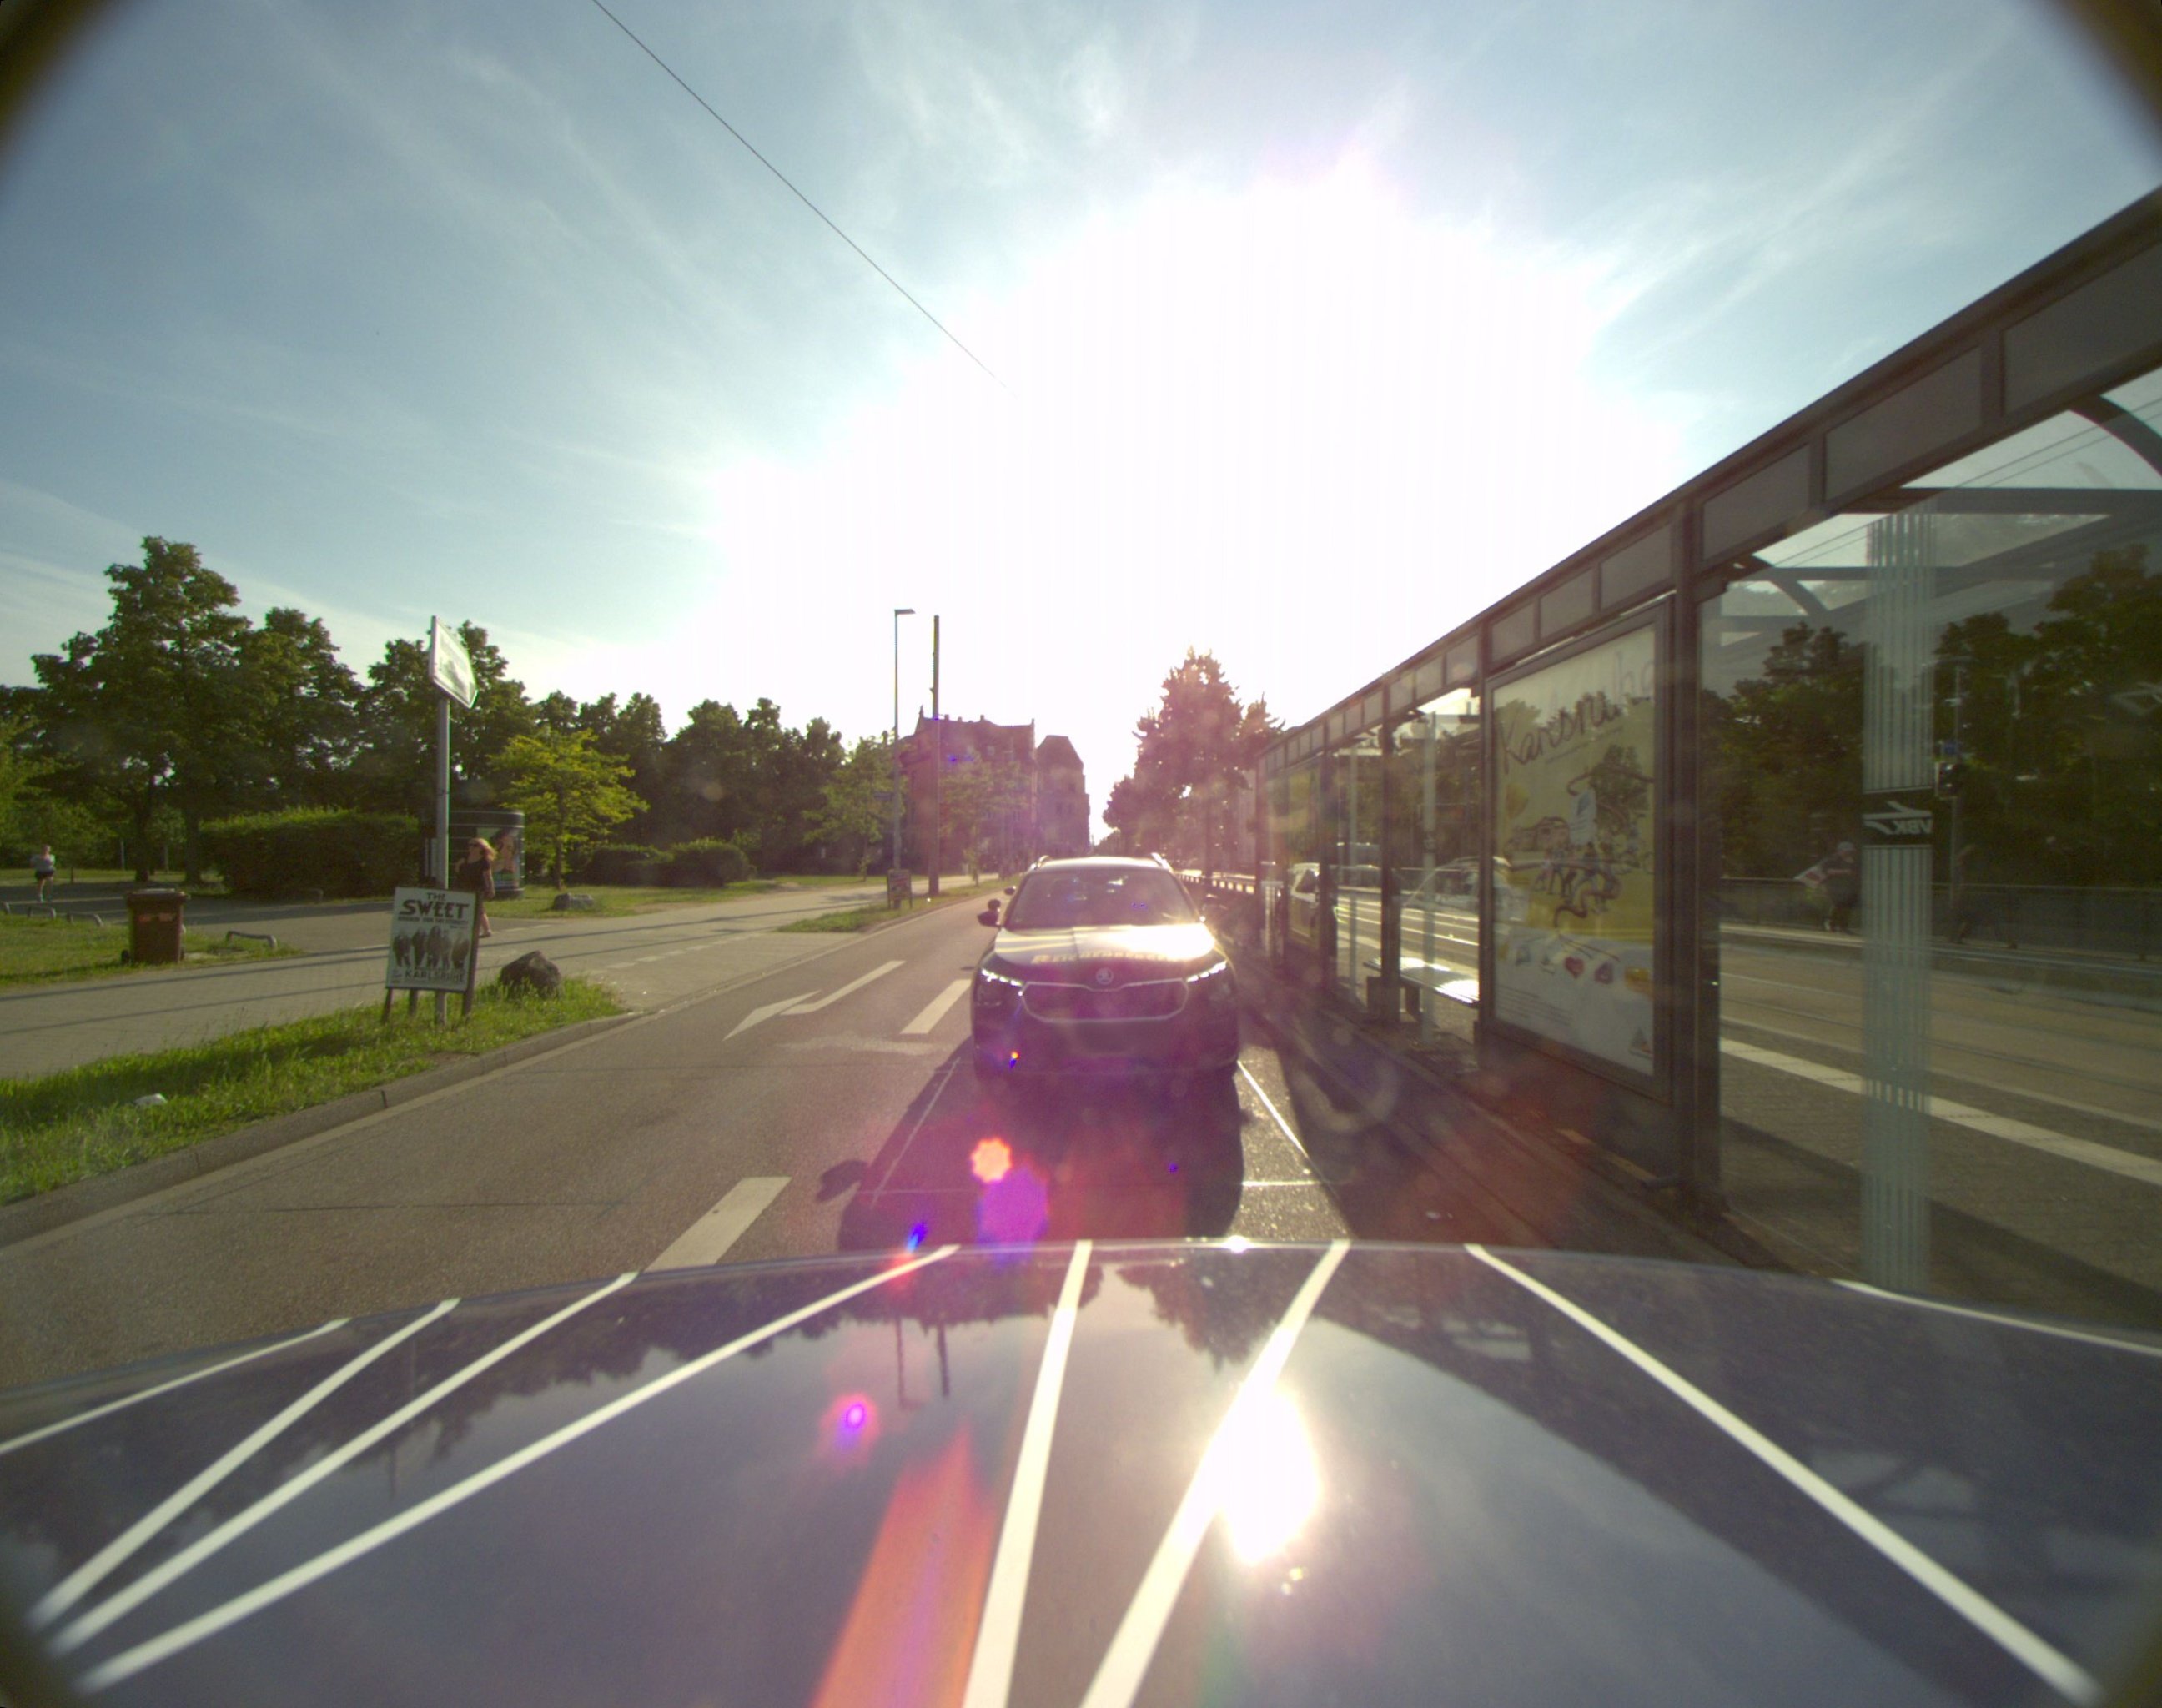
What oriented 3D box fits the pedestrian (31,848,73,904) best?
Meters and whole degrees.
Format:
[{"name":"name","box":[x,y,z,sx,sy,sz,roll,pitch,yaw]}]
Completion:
[{"name":"pedestrian","box":[-30.652,0.647,22.636,0.660,1.641,0.623,0,1,26]}]

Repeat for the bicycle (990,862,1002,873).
[{"name":"bicycle","box":[-7.615,1.214,68.454,0.740,0.912,2.095,0,0,3]}]

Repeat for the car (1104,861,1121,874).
[{"name":"car","box":[4.174,1.742,101.149,1.999,1.674,3.999,0,0,-1]}]

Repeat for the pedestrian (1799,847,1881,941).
[{"name":"pedestrian","box":[13.366,0.687,13.398,0.736,1.618,0.689,0,0,1]}]

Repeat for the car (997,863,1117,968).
[{"name":"car","box":[-0.329,0.934,13.241,1.781,1.496,4.000,0,0,1]}]

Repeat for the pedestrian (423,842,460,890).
[{"name":"pedestrian","box":[-28.742,0.521,34.171,0.910,2.145,0.891,0,0,13]}]

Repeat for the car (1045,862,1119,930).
[{"name":"car","box":[0.050,0.966,19.085,1.672,1.496,3.872,0,0,1]}]

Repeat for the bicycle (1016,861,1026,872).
[{"name":"bicycle","box":[-5.492,1.121,69.514,0.740,0.912,2.094,0,0,0]}]

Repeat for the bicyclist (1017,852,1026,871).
[{"name":"bicyclist","box":[-5.475,0.694,69.685,0.730,1.763,1.015,0,0,-1]}]

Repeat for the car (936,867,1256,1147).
[{"name":"car","box":[0.109,0.887,6.243,1.781,1.496,4.000,0,0,1]}]

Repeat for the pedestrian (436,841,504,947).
[{"name":"pedestrian","box":[-9.946,0.637,12.391,0.558,1.691,0.662,0,1,0]}]

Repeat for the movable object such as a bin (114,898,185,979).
[{"name":"movable object such as a bin","box":[-11.330,1.009,9.248,0.502,0.898,0.526,1,1,39]}]

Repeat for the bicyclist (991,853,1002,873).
[{"name":"bicyclist","box":[-7.601,0.790,68.486,0.753,1.763,1.119,0,0,3]}]
